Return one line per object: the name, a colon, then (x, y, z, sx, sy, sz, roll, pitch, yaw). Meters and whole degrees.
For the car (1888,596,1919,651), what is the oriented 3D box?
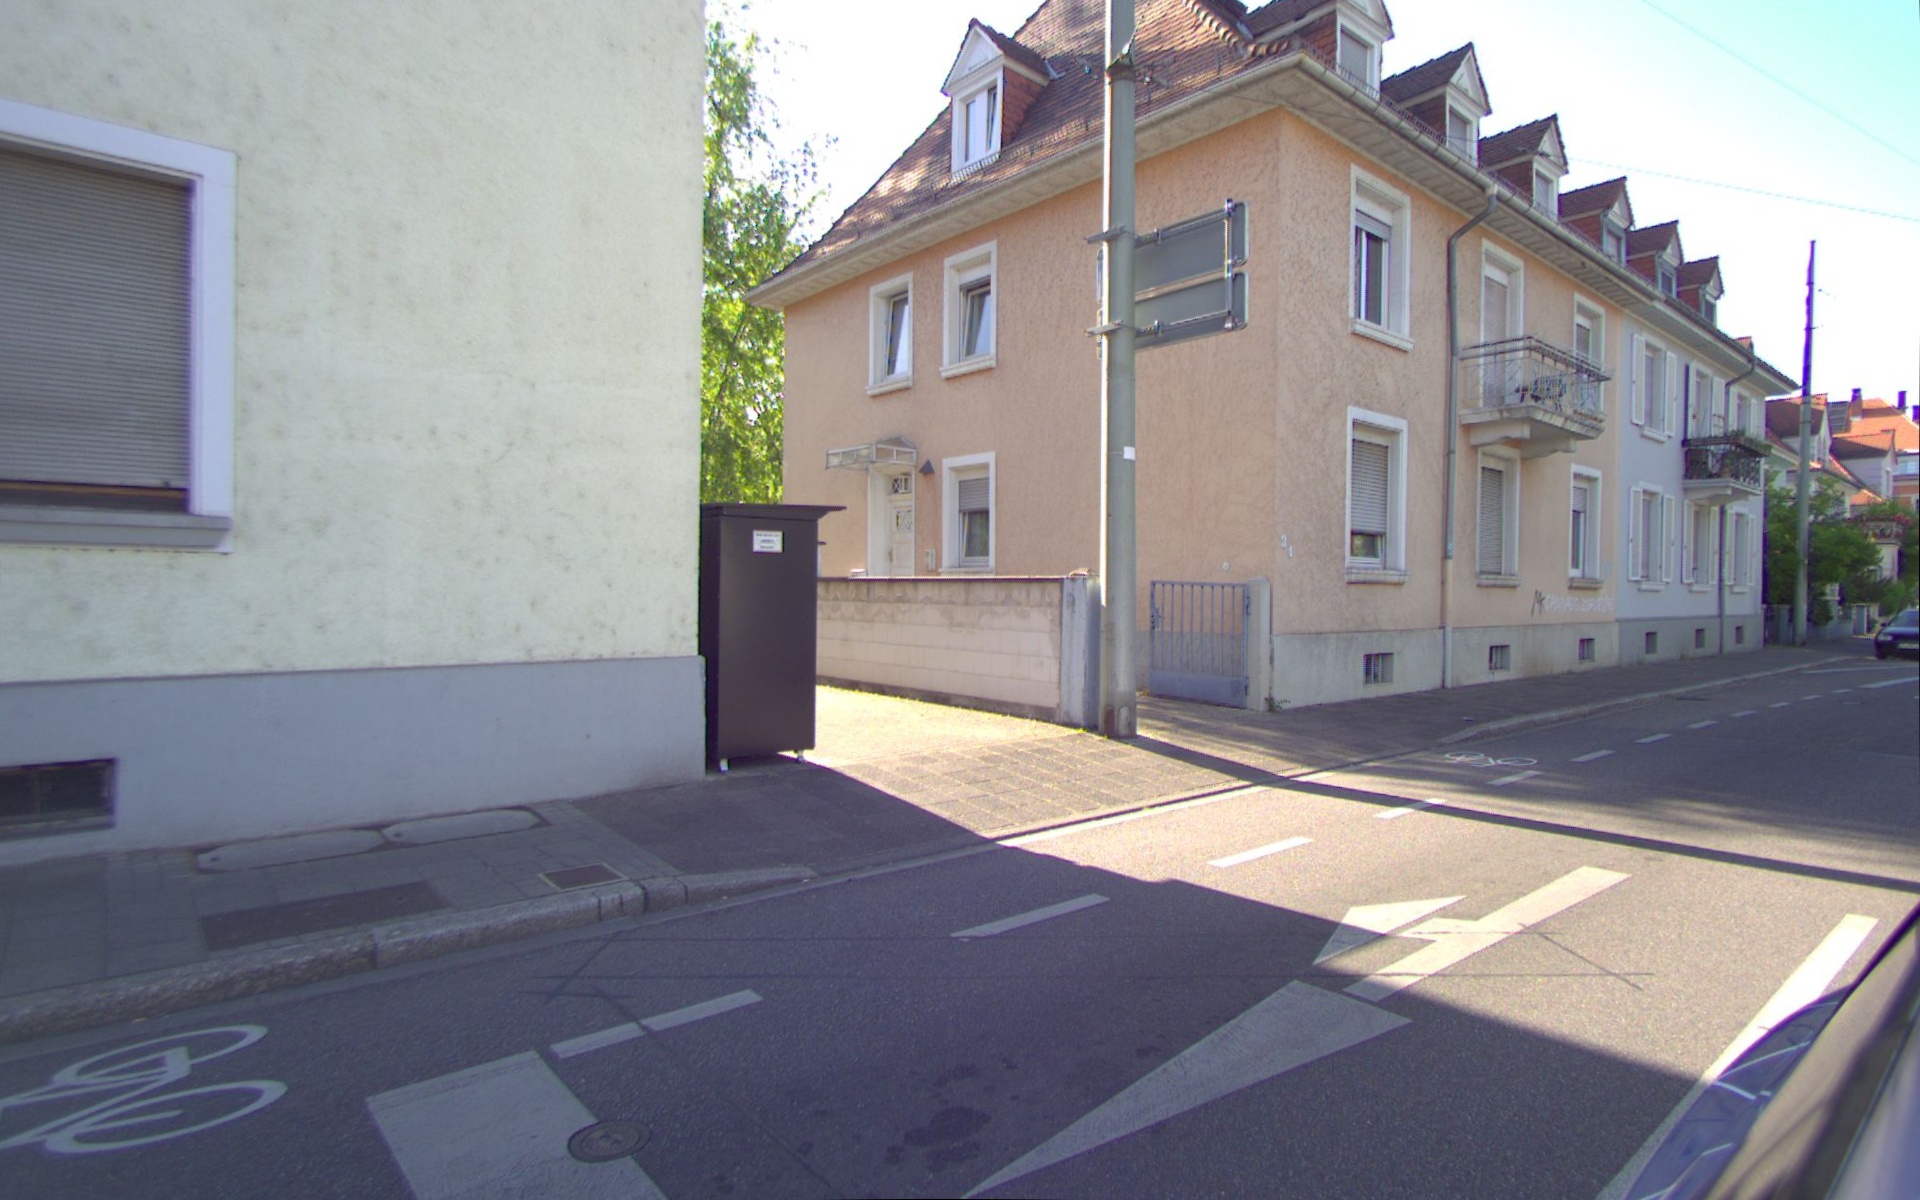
car: (26.711, 0.619, 27.393, 4.347, 1.425, 1.866, 0, 1, -41)
